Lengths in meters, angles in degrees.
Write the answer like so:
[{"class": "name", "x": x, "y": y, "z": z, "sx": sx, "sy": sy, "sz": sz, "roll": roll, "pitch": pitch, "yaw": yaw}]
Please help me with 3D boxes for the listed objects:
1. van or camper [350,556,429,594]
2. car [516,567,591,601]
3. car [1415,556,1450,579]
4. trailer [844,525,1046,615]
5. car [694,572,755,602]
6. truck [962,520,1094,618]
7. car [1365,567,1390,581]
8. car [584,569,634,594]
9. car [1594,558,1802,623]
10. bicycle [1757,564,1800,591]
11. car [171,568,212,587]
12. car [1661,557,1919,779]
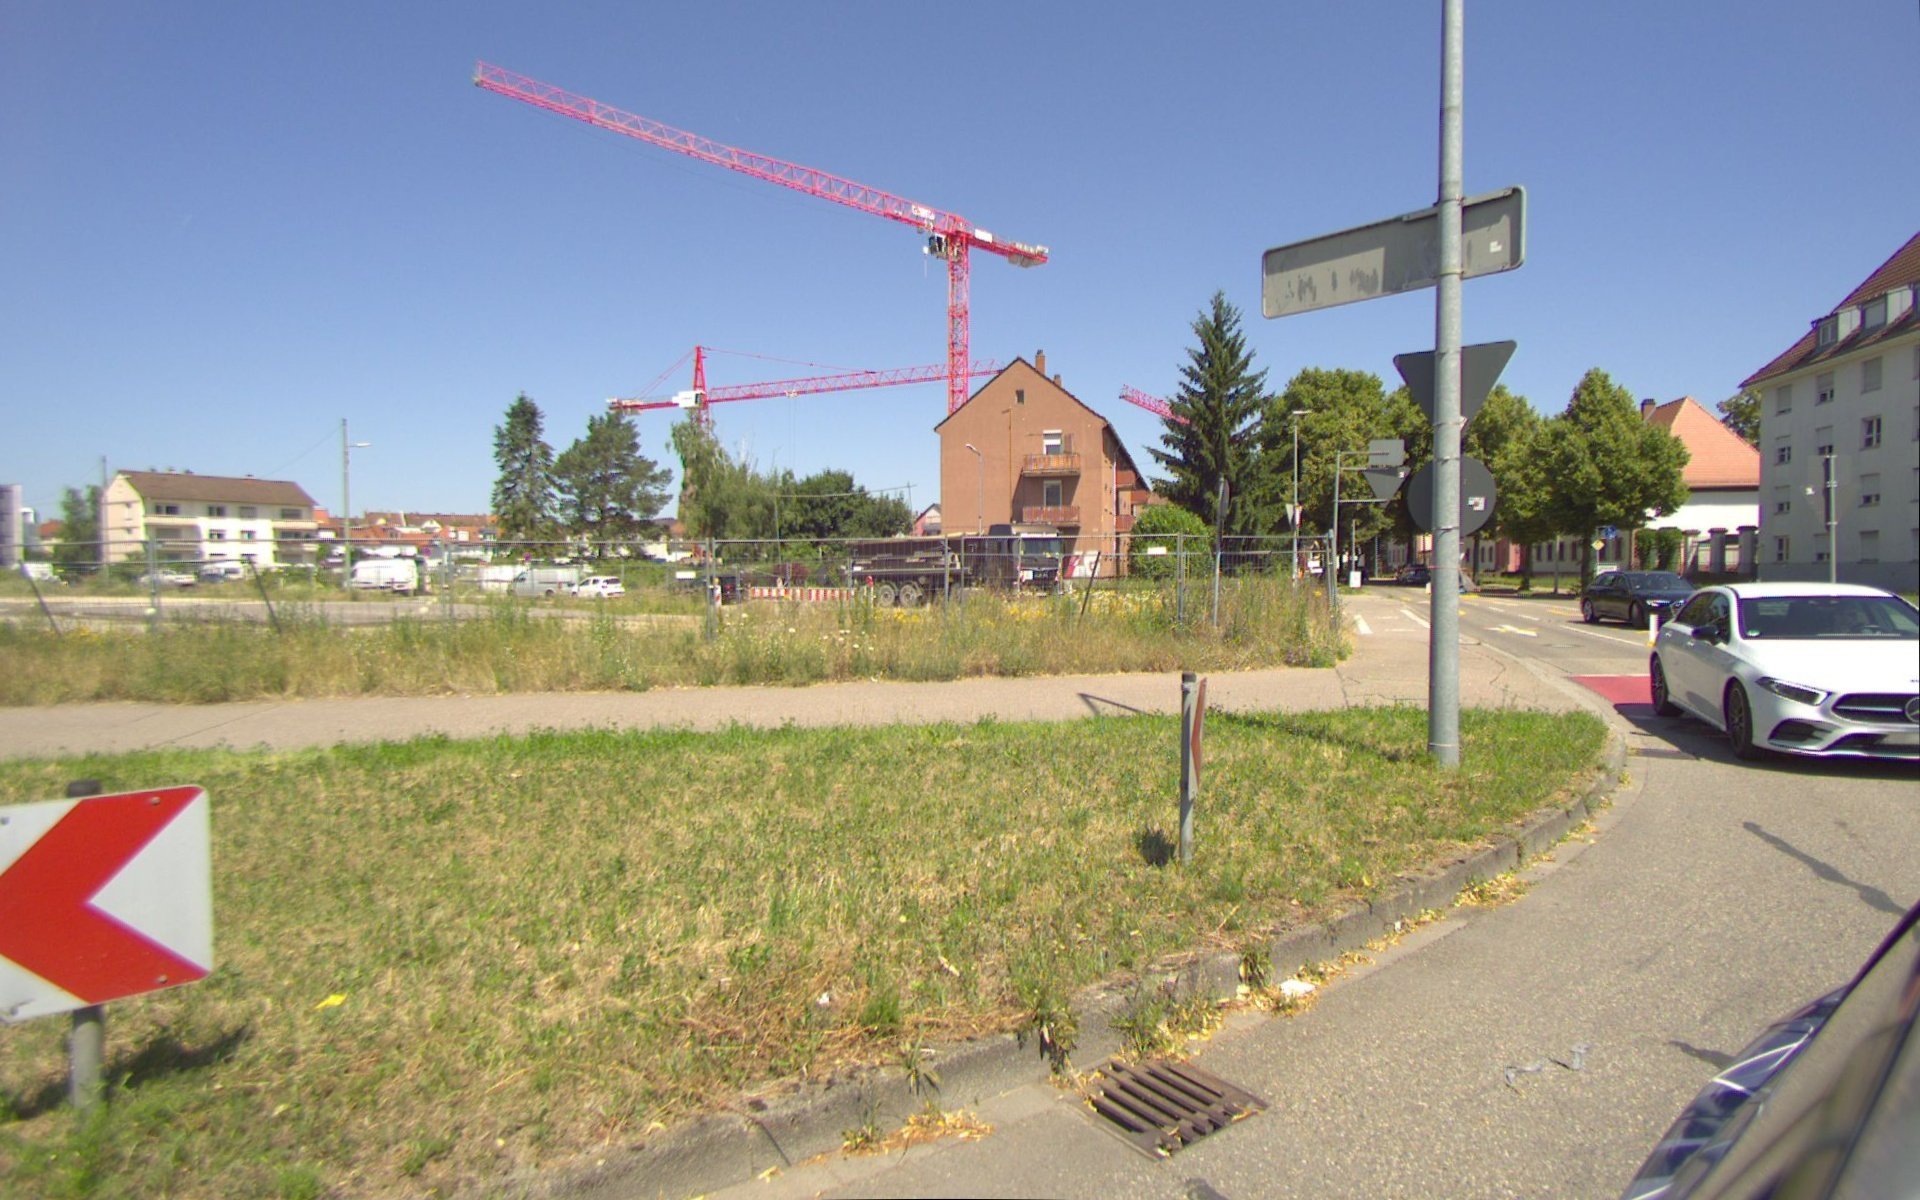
[{"class": "van or camper", "x": -41.275, "y": -1.765, "z": 73.177, "sx": 6.948, "sy": 2.634, "sz": 1.908, "roll": 0, "pitch": 1, "yaw": 32}, {"class": "car", "x": -25.594, "y": -1.002, "z": 63.662, "sx": 4.635, "sy": 2.039, "sz": 1.769, "roll": 0, "pitch": 1, "yaw": 26}, {"class": "car", "x": 36.853, "y": -2.547, "z": 79.005, "sx": 1.664, "sy": 1.791, "sz": 4.188, "roll": 0, "pitch": 2, "yaw": 14}, {"class": "trailer", "x": -0.801, "y": -1.282, "z": 44.150, "sx": 8.949, "sy": 3.576, "sz": 3.120, "roll": 1, "pitch": 2, "yaw": 40}, {"class": "car", "x": -12.993, "y": -0.713, "z": 55.848, "sx": 3.395, "sy": 1.633, "sz": 1.354, "roll": 0, "pitch": 1, "yaw": 34}, {"class": "truck", "x": 2.576, "y": -1.214, "z": 39.965, "sx": 3.100, "sy": 3.576, "sz": 4.972, "roll": -1, "pitch": 1, "yaw": -27}, {"class": "car", "x": 42.486, "y": -2.689, "z": 103.047, "sx": 1.618, "sy": 1.399, "sz": 3.877, "roll": 0, "pitch": 1, "yaw": 11}, {"class": "car", "x": -21.176, "y": -1.114, "z": 61.044, "sx": 2.770, "sy": 1.422, "sz": 1.403, "roll": 1, "pitch": 4, "yaw": 33}, {"class": "car", "x": 18.544, "y": -0.257, "z": 25.749, "sx": 1.766, "sy": 1.469, "sz": 4.621, "roll": -1, "pitch": 1, "yaw": -2}, {"class": "bicycle", "x": 32.926, "y": -0.921, "z": 40.722, "sx": 0.701, "sy": 1.037, "sz": 1.973, "roll": -3, "pitch": 1, "yaw": 20}, {"class": "car", "x": -68.113, "y": -1.986, "z": 89.672, "sx": 3.592, "sy": 1.605, "sz": 1.663, "roll": -1, "pitch": 2, "yaw": 31}, {"class": "car", "x": 7.682, "y": 0.424, "z": 8.879, "sx": 1.762, "sy": 1.565, "sz": 3.932, "roll": -1, "pitch": 1, "yaw": 24}]
